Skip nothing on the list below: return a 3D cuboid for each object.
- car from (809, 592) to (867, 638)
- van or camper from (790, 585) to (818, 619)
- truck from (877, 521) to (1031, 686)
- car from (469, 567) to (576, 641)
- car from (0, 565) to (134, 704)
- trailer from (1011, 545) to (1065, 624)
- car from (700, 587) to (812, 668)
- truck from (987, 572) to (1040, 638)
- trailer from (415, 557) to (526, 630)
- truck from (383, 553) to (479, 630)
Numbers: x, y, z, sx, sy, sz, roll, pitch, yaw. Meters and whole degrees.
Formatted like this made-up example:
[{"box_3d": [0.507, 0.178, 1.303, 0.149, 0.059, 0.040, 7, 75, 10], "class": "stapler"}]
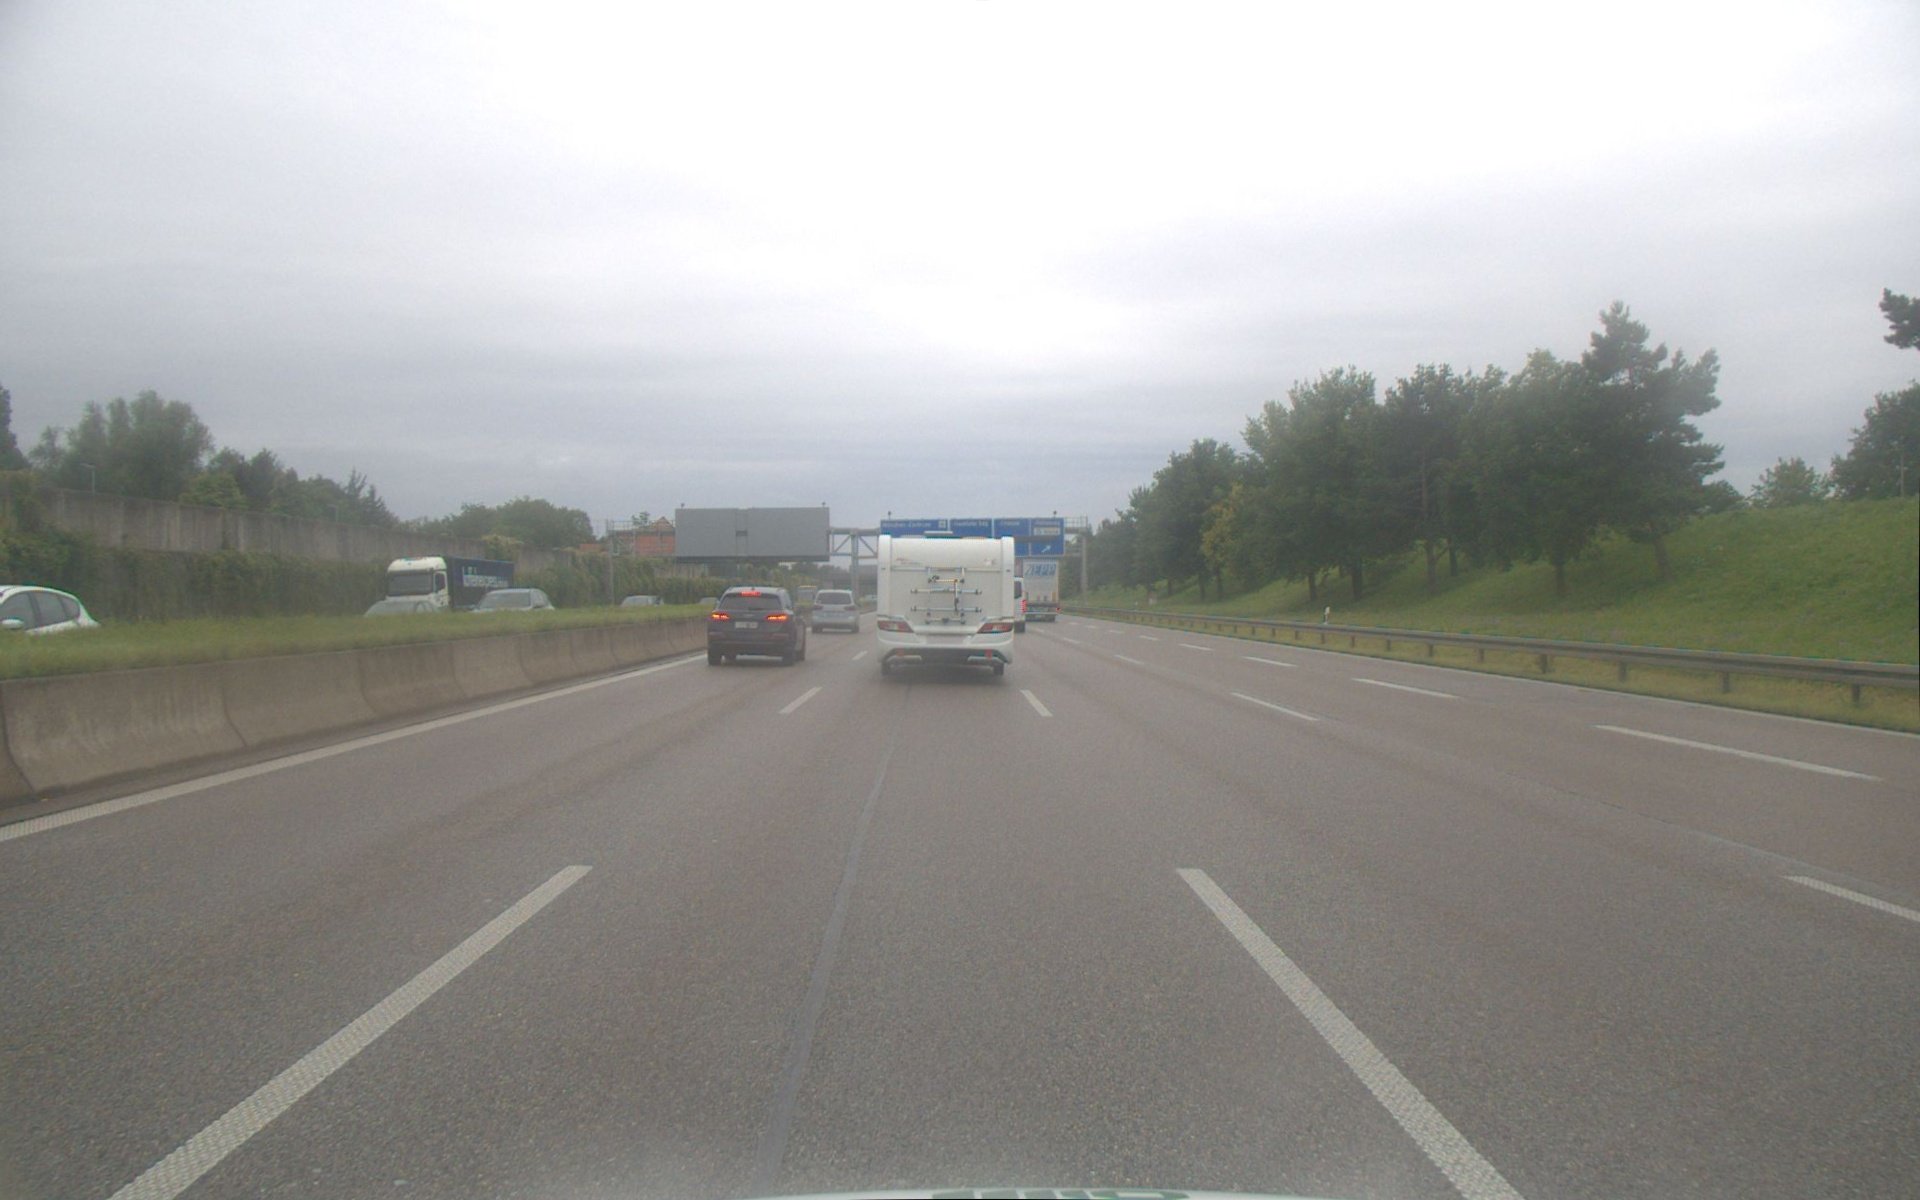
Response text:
[{"box_3d": [-4.887, 0.578, 66.795, 2.085, 1.736, 4.111, 1, 0, -2], "class": "car"}, {"box_3d": [-19.222, 0.237, 204.304, 2.653, 4.017, 8.400, 1, 0, -1], "class": "van or camper"}, {"box_3d": [-0.164, 0.068, 31.003, 2.607, 2.790, 5.076, 1, 0, -2], "class": "truck"}, {"box_3d": [-12.712, 0.099, 48.307, 2.078, 2.049, 4.517, 0, 0, -2], "class": "car"}, {"box_3d": [-12.632, 0.407, 21.450, 1.785, 1.691, 4.148, 1, 0, -1], "class": "car"}, {"box_3d": [5.209, -0.966, 112.556, 3.036, 5.008, 11.789, 1, 0, 0], "class": "trailer"}, {"box_3d": [-4.437, 0.575, 36.705, 1.953, 1.628, 5.122, 1, 0, -1], "class": "car"}, {"box_3d": [2.380, 0.231, 74.507, 2.012, 2.818, 5.547, 1, 0, -1], "class": "truck"}, {"box_3d": [-24.111, -0.296, 82.057, 2.259, 3.347, 10.562, 1, 0, 0], "class": "trailer"}, {"box_3d": [-24.132, -0.345, 75.753, 2.268, 3.330, 6.581, 1, 0, 0], "class": "truck"}]
